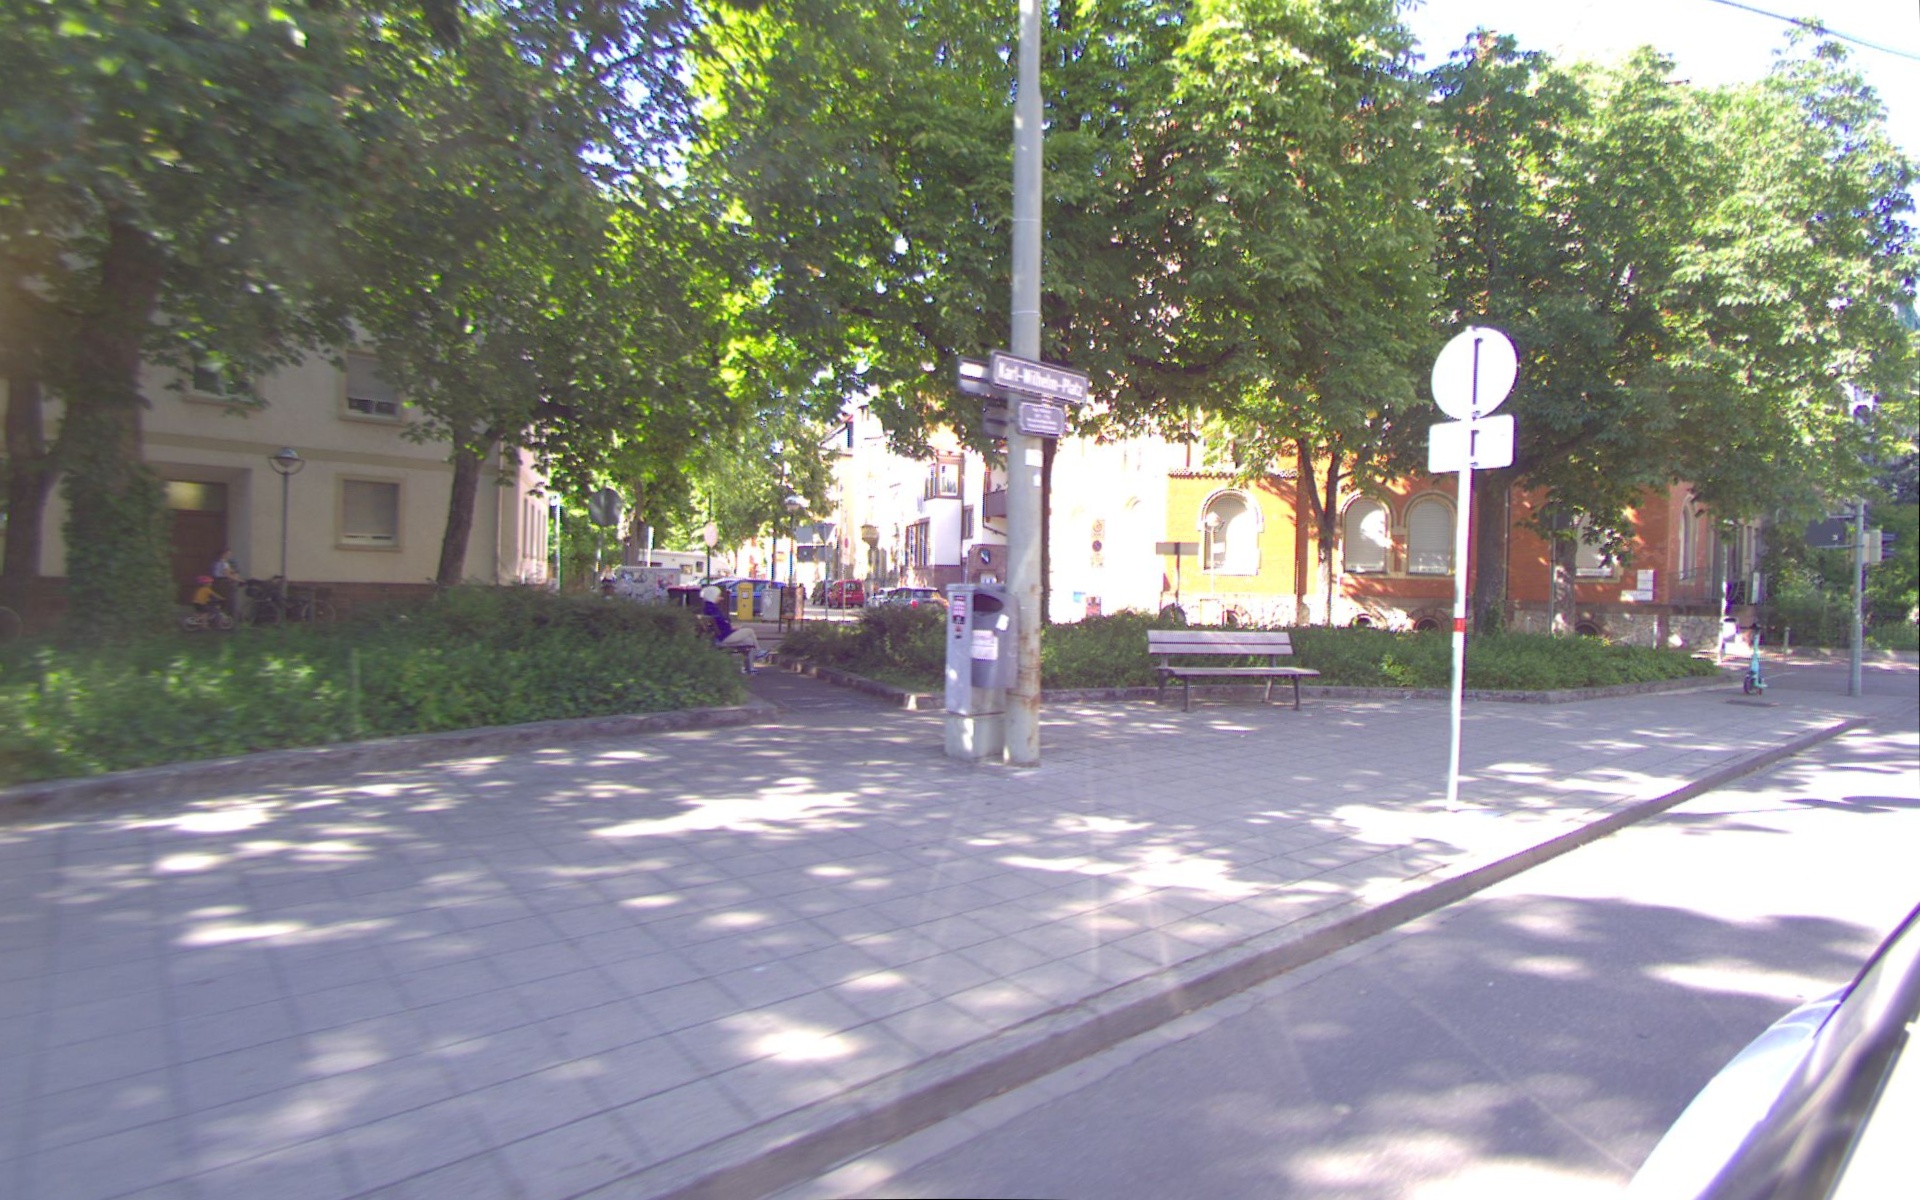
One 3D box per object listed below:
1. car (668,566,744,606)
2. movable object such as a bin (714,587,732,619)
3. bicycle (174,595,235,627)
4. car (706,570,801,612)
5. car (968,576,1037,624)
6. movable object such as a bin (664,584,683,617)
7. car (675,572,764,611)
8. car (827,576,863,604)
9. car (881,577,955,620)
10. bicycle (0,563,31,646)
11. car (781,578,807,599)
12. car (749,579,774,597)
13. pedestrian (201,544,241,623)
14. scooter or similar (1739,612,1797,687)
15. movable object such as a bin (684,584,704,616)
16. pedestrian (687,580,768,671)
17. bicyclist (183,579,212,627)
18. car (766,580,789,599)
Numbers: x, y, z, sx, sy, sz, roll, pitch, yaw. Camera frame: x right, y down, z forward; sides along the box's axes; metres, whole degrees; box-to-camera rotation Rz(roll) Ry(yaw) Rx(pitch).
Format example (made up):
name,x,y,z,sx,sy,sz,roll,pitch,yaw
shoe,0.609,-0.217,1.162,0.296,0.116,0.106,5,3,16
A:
name,x,y,z,sx,sy,sz,roll,pitch,yaw
car,-12.071,-0.636,48.095,3.278,1.856,1.502,1,0,-22
movable object such as a bin,-7.397,0.103,31.614,0.532,0.977,0.644,1,-1,-13
bicycle,-15.342,0.216,20.556,0.430,0.644,0.905,0,0,37
car,-7.848,-0.312,38.456,3.278,1.538,1.502,1,0,-22
car,1.589,0.010,38.933,1.600,1.739,3.811,1,0,-14
movable object such as a bin,-8.843,0.017,31.232,0.532,0.977,0.644,1,-1,-13
car,-9.686,-0.325,40.749,3.278,1.538,1.502,1,0,-22
car,-7.487,-0.646,65.616,1.600,1.739,3.811,1,0,-18
car,-1.587,-0.047,36.950,1.601,1.476,3.555,1,0,-22
bicycle,-15.431,0.060,15.652,0.424,1.296,1.472,3,1,30
car,-13.984,-0.951,85.190,1.600,1.739,3.811,1,0,-18
car,-16.665,-0.994,84.774,1.600,1.488,3.535,1,0,-18
pedestrian,-15.811,-0.343,21.652,0.619,1.655,0.571,1,-1,-41
scooter or similar,14.180,0.870,17.752,1.253,1.265,0.519,4,-1,-40
movable object such as a bin,-8.246,0.012,31.384,0.570,0.977,0.644,1,-1,-13
pedestrian,-3.296,0.350,14.392,1.022,1.247,0.450,1,-1,-40
bicyclist,-15.464,0.062,20.530,0.337,0.956,0.388,0,-1,37
car,-16.792,-0.956,93.031,1.600,1.739,3.811,1,0,-18
